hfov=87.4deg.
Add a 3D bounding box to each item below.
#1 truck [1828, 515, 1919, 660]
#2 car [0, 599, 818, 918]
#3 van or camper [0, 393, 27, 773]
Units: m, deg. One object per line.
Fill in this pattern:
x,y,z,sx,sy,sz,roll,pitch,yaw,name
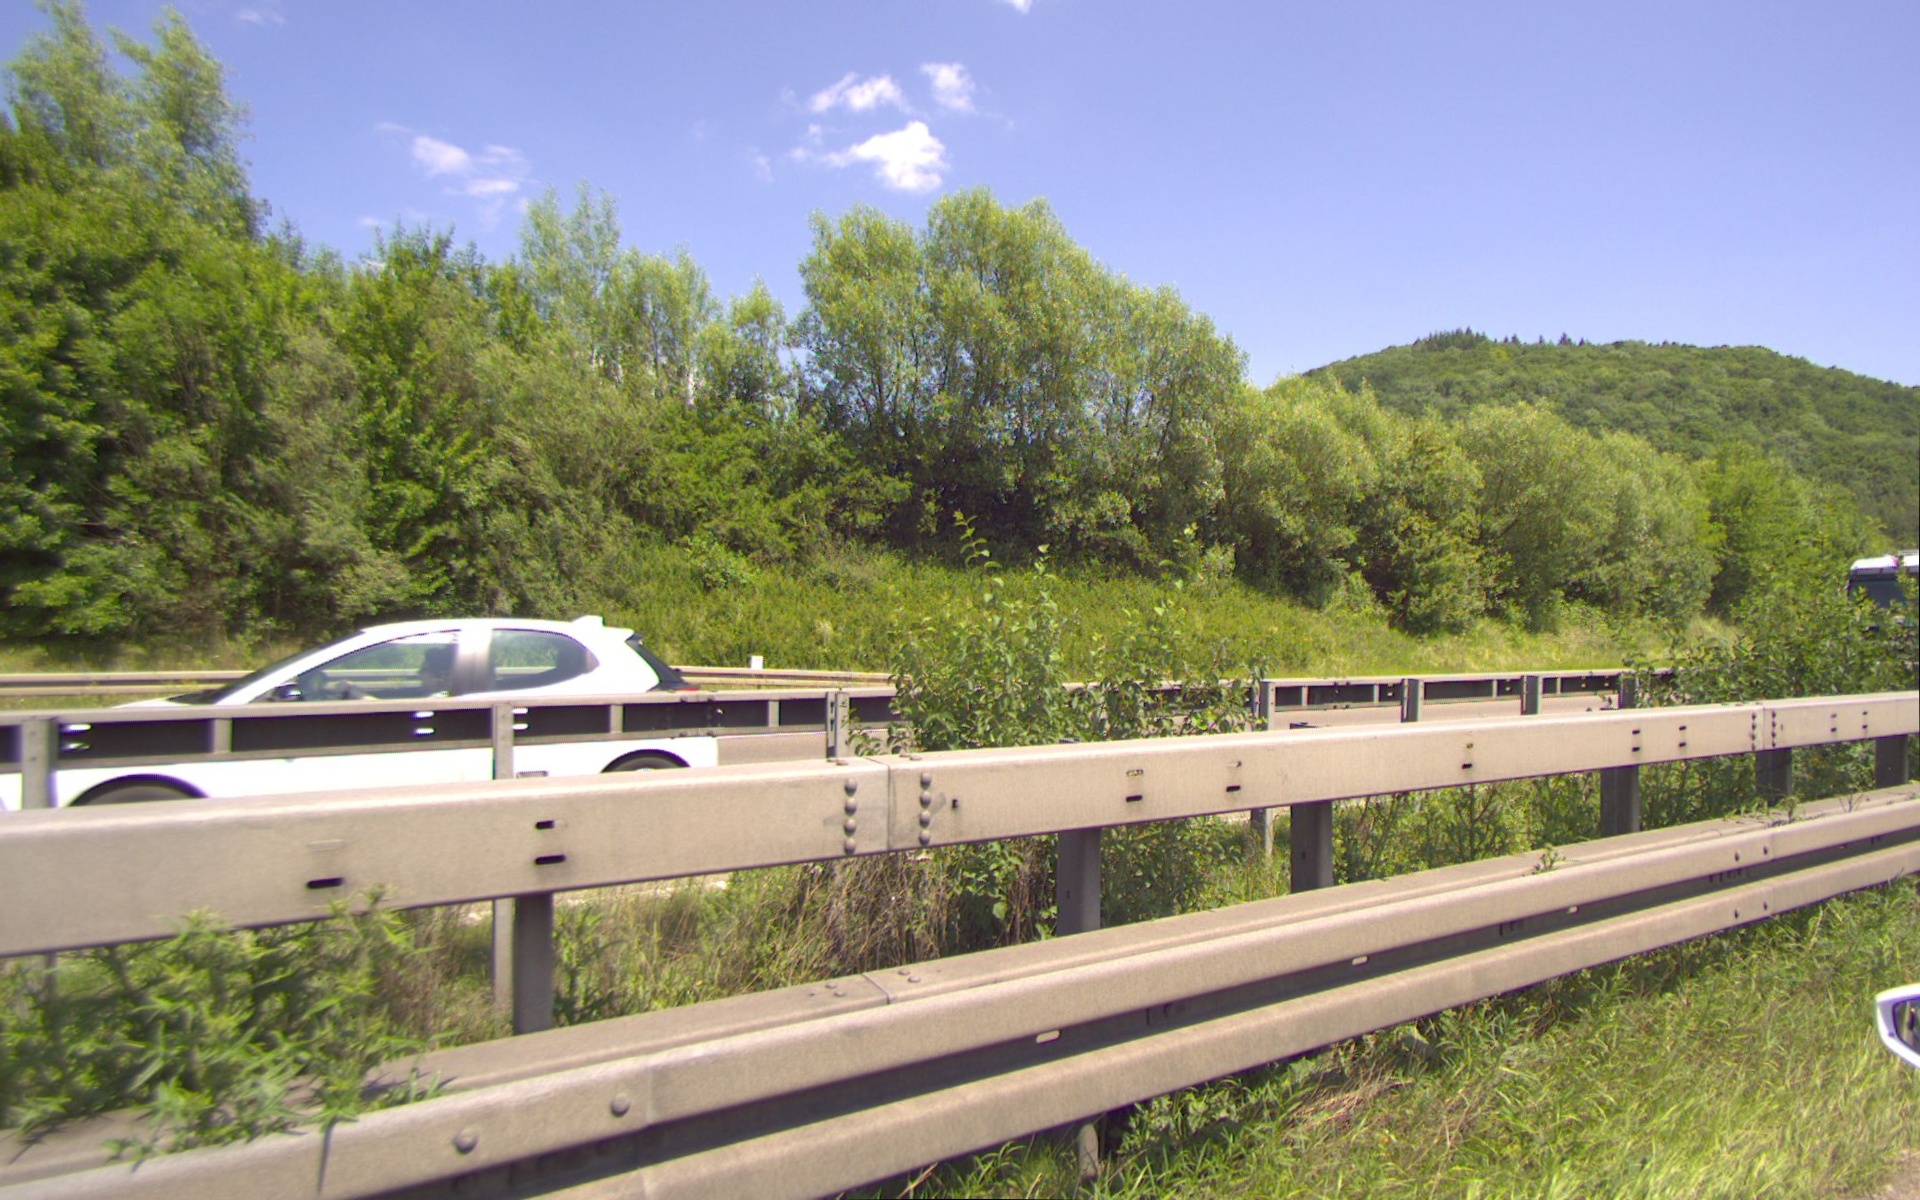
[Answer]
30.846,-0.256,31.199,10.053,4.060,2.855,1,0,-31,truck
-3.339,0.789,6.415,4.485,1.483,1.788,2,-1,-31,car
-11.503,-0.227,6.460,7.556,3.380,2.579,1,-1,-29,van or camper
